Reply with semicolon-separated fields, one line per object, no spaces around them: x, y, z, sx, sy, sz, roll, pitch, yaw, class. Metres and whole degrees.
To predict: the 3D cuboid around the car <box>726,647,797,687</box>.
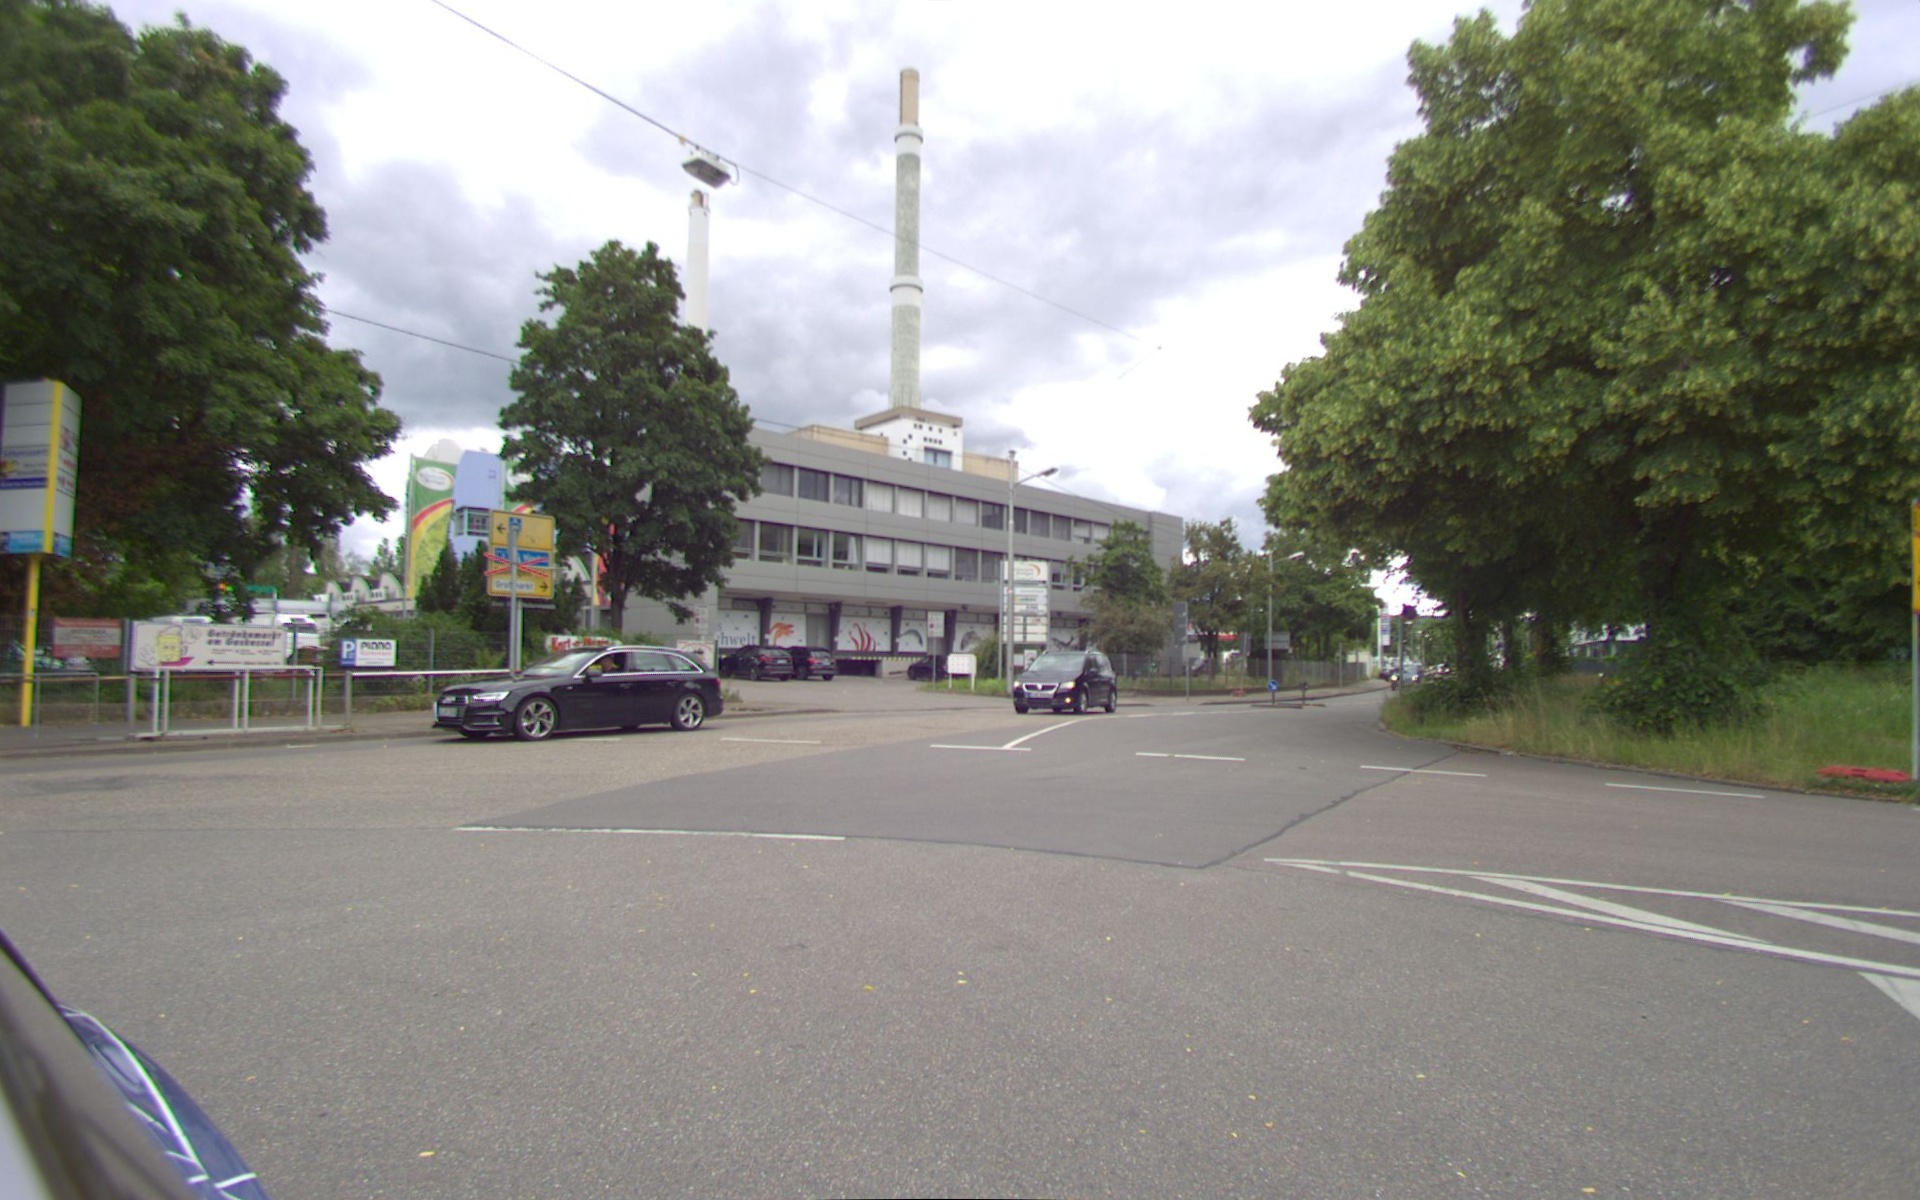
-9.568;3.202;48.749;1.751;1.691;3.576;-1;0;-43;car

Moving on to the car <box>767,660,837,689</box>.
-7.927;3.690;50.584;1.751;1.187;3.576;-1;0;-43;car

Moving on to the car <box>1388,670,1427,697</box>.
33.482;6.217;75.629;1.828;1.960;4.746;-2;-4;34;car

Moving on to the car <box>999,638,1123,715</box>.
2.660;1.985;25.740;1.823;1.785;4.192;-2;-6;26;car

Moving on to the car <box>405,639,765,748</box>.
-5.789;1.439;16.338;1.997;1.468;5.156;-1;-4;37;car

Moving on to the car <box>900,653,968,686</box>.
-1.454;3.735;55.018;1.723;1.564;3.614;-1;0;-43;car
